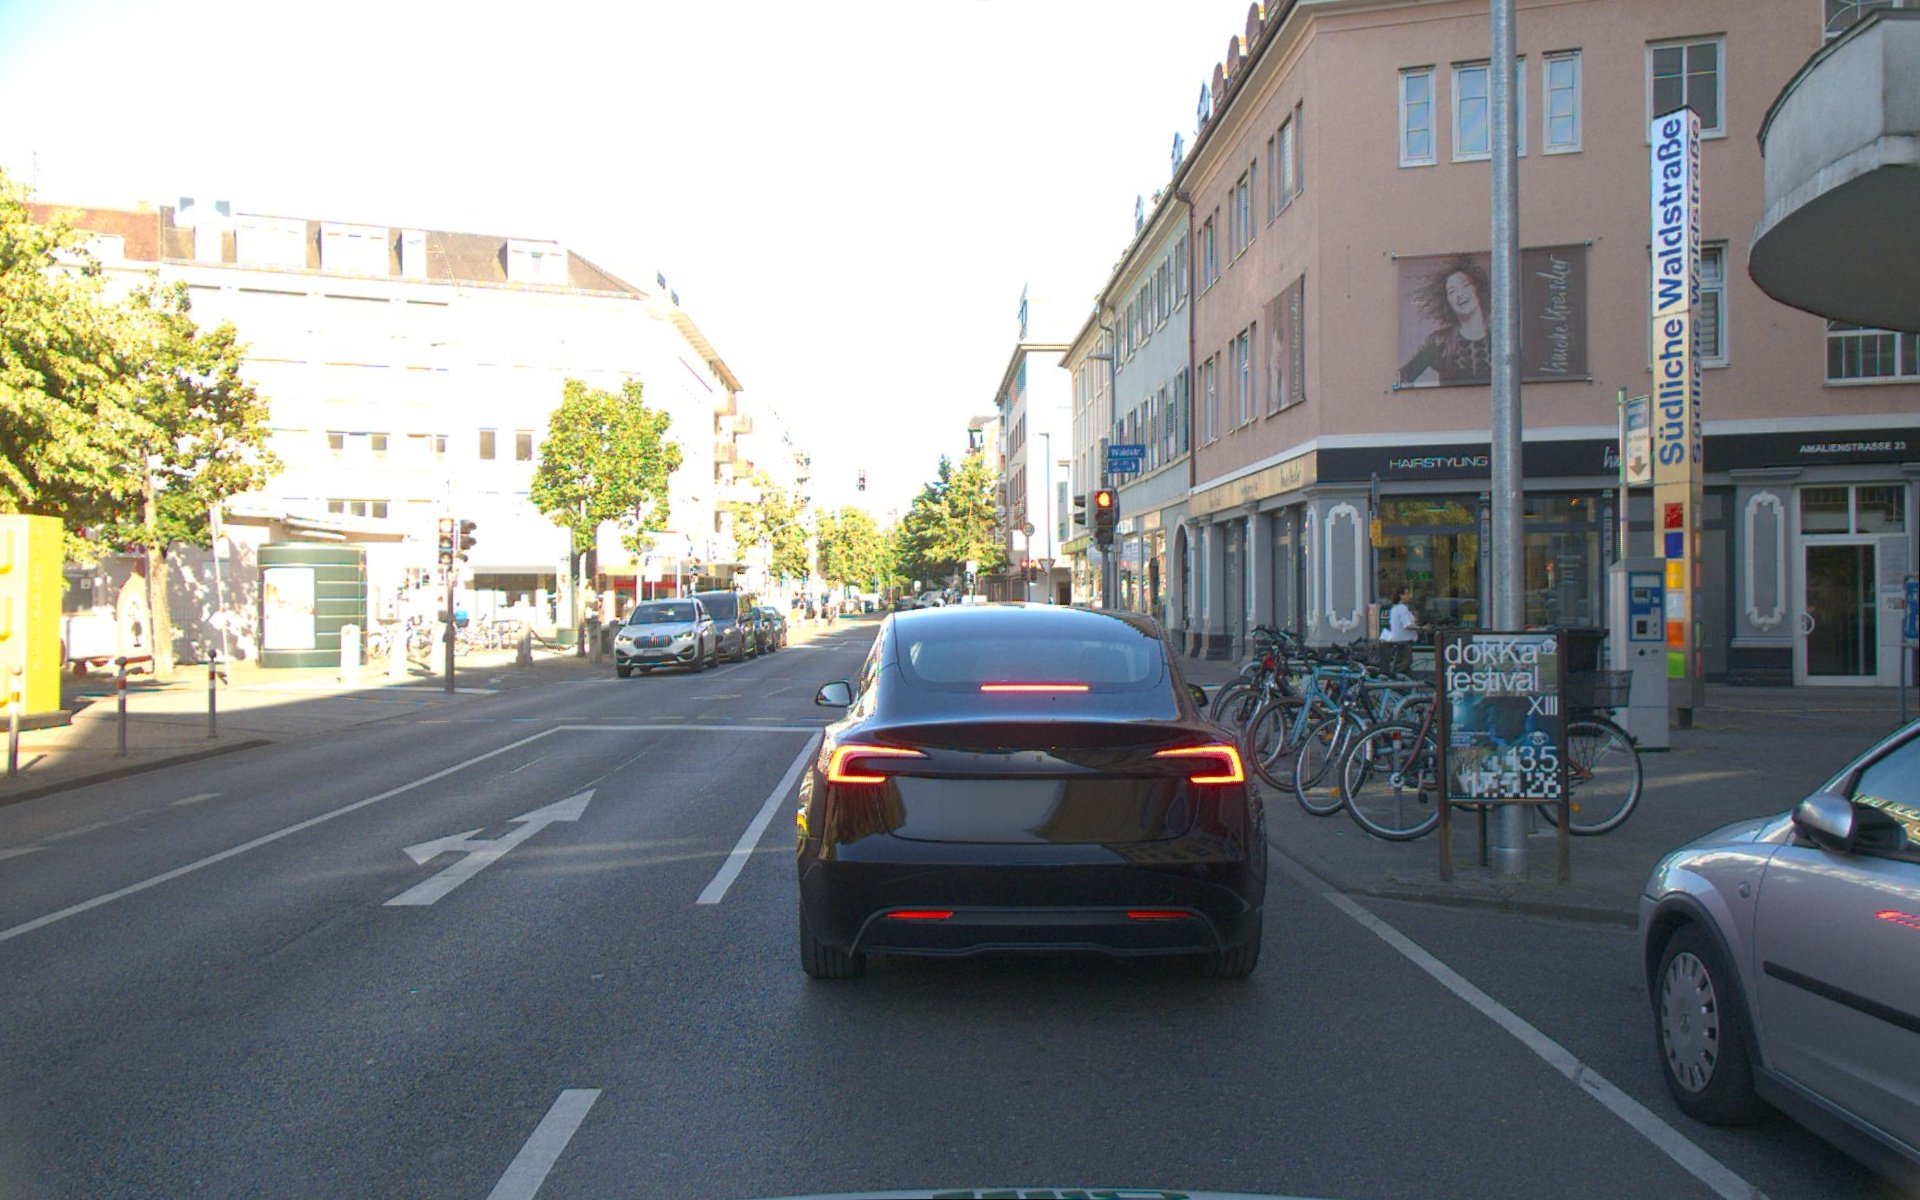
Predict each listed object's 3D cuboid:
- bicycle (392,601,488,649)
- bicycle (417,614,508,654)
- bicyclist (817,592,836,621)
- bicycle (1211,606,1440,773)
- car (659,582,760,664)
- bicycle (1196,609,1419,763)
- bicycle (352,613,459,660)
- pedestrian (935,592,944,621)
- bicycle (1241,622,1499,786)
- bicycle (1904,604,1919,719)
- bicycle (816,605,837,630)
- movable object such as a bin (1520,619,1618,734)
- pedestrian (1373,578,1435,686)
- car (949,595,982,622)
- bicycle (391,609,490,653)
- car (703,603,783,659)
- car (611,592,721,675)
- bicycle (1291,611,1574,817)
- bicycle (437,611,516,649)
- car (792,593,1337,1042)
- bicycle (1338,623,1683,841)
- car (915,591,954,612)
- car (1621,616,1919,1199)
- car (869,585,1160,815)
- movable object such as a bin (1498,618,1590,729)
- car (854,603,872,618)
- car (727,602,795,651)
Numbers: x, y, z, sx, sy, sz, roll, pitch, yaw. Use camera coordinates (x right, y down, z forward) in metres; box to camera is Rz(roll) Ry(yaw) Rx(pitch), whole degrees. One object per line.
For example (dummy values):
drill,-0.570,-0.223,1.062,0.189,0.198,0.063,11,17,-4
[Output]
bicycle,-14.705,0.696,46.810,2.429,1.347,0.921,0,0,-6
bicycle,-14.883,1.013,49.564,2.485,1.176,0.841,0,0,-6
bicyclist,-7.707,0.367,95.494,1.104,1.657,0.964,0,0,-4
bicycle,2.995,0.721,13.685,1.709,1.289,0.781,-2,0,2
car,-6.361,0.536,42.501,1.797,1.877,4.674,-4,0,0
bicycle,3.060,0.748,14.716,1.822,1.280,0.833,-2,0,5
bicycle,-14.183,0.922,42.353,2.455,1.176,0.842,0,0,-2
pedestrian,-1.484,0.462,119.867,0.628,2.049,0.690,0,0,-3
bicycle,3.064,0.771,12.507,1.760,1.144,0.782,-2,0,5
bicycle,10.334,0.651,17.000,0.645,1.220,2.212,0,0,18
bicycle,-7.691,0.994,95.400,1.089,1.368,3.997,0,0,-4
movable object such as a bin,6.051,0.748,16.464,0.737,1.111,0.627,1,0,1
pedestrian,6.556,0.464,24.450,0.731,1.579,0.699,0,0,1
car,0.340,0.507,100.717,1.953,1.657,3.999,0,0,-1
bicycle,-14.096,0.841,44.887,2.412,1.176,0.842,0,0,-2
car,-6.415,0.883,49.323,1.954,1.434,4.671,-4,0,-3
car,-6.377,0.687,36.300,1.771,1.582,4.307,-4,0,-3
bicycle,3.146,0.749,11.157,1.686,1.290,0.791,-2,0,5
bicycle,-15.202,0.940,52.050,2.279,1.176,0.841,0,0,-6
car,0.321,0.724,7.496,1.810,1.480,3.999,0,0,-1
bicycle,3.293,0.784,10.027,1.846,1.214,0.692,-2,1,5
car,-2.563,0.150,167.515,3.907,2.049,1.999,0,0,-2
car,2.938,0.779,3.516,1.580,1.406,3.642,1,0,0
car,0.295,0.668,13.205,1.953,1.538,4.173,0,0,-2
movable object such as a bin,6.030,0.751,17.101,0.718,1.111,0.627,1,0,1
car,-10.977,1.202,186.892,1.954,1.666,3.997,0,0,-4
car,-6.797,0.870,56.909,1.954,1.461,4.671,-4,0,-3
